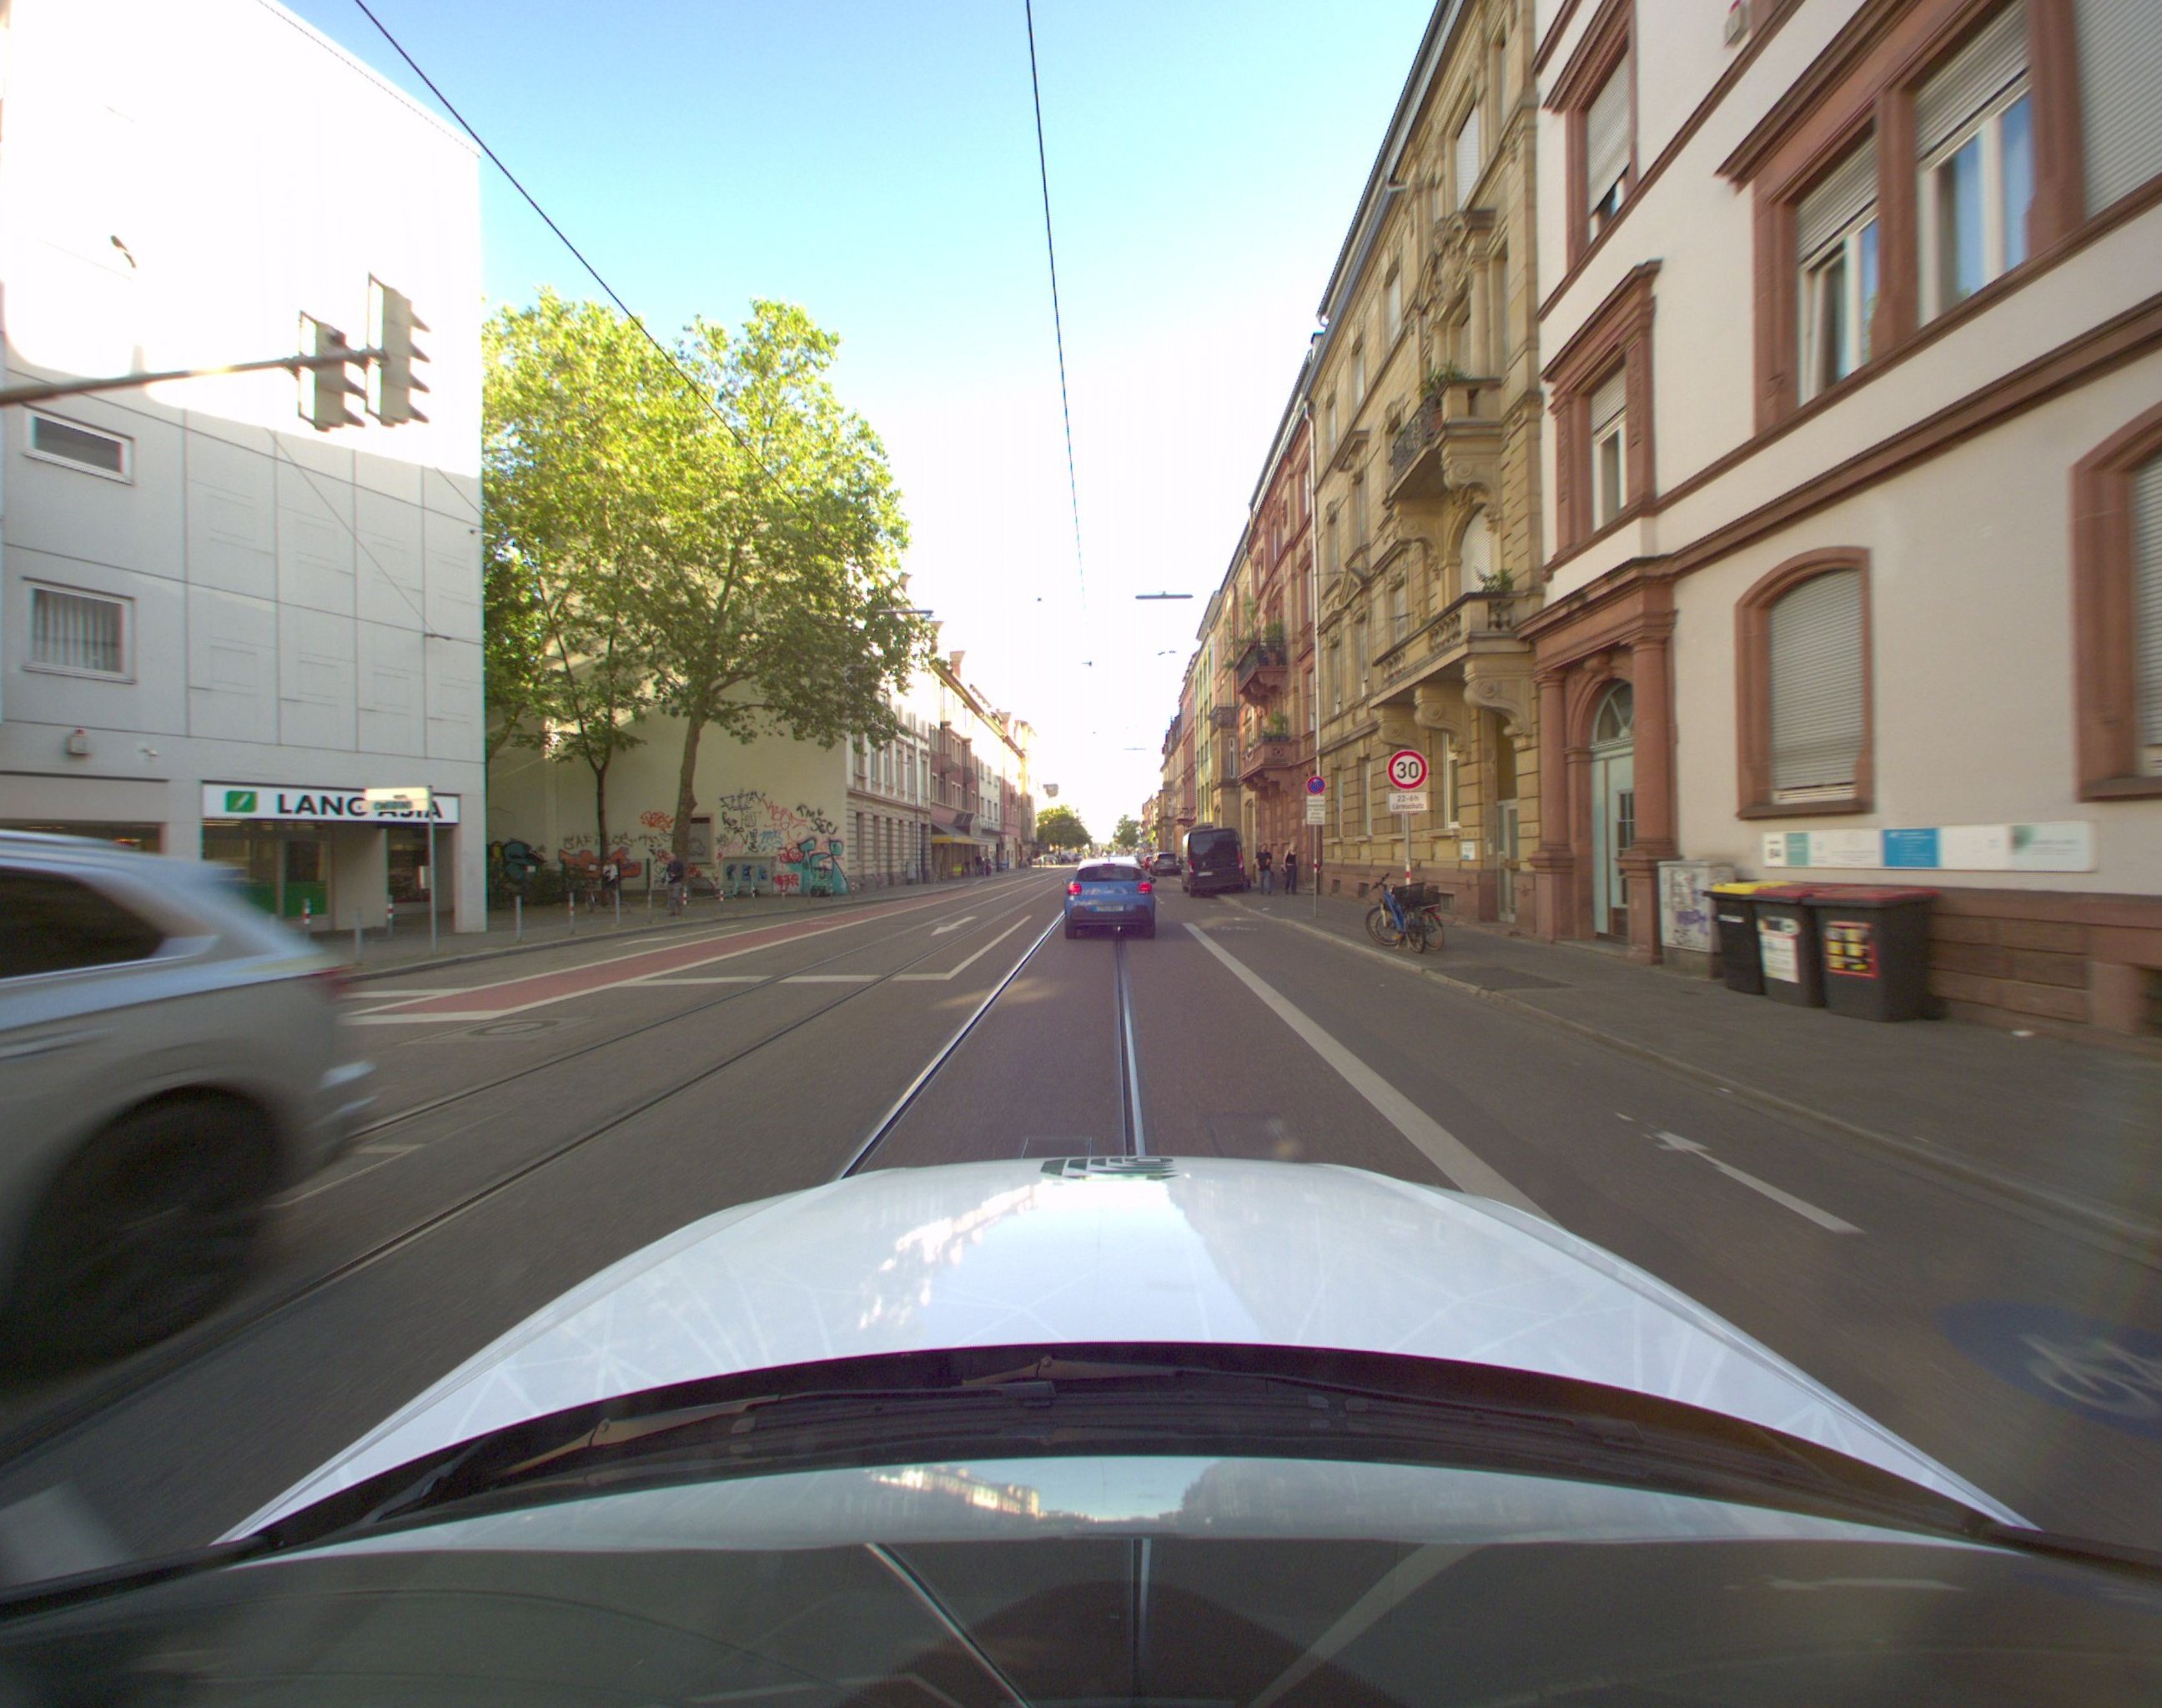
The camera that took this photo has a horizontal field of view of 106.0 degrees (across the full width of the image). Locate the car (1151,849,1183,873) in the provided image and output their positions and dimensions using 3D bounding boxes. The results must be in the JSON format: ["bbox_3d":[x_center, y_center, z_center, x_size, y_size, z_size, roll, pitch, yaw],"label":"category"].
[{"bbox_3d":[6.268,0.517,59.901,1.998,1.672,4.808,-2,0,2],"label":"car"}]

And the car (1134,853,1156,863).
[{"bbox_3d":[11.756,0.722,149.534,3.824,1.618,1.791,-2,0,-1],"label":"car"}]

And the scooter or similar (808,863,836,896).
[{"bbox_3d":[-10.469,1.028,32.933,0.785,1.271,1.075,1,1,1],"label":"scooter or similar"}]

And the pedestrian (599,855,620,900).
[{"bbox_3d":[-18.228,0.915,31.474,0.454,1.718,0.547,-2,0,1],"label":"pedestrian"}]

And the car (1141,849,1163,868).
[{"bbox_3d":[7.270,0.433,83.922,1.998,1.672,4.394,-2,3,2],"label":"car"}]

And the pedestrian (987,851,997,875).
[{"bbox_3d":[-6.710,0.704,61.444,0.709,1.764,0.653,-1,0,-7],"label":"pedestrian"}]

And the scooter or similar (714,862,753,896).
[{"bbox_3d":[-13.429,0.960,31.516,1.228,1.258,0.765,-1,0,-11],"label":"scooter or similar"}]

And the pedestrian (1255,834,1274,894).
[{"bbox_3d":[6.263,0.332,27.879,0.581,2.014,0.826,-1,-1,12],"label":"pedestrian"}]

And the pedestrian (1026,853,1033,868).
[{"bbox_3d":[-5.680,0.704,90.261,0.683,1.638,0.675,-2,0,1],"label":"pedestrian"}]

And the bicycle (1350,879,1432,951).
[{"bbox_3d":[4.638,0.879,12.303,0.430,0.947,1.760,-1,0,-5],"label":"bicycle"}]

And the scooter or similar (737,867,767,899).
[{"bbox_3d":[-13.151,1.150,32.557,0.937,1.222,0.765,-1,0,-10],"label":"scooter or similar"}]

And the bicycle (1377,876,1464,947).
[{"bbox_3d":[5.100,0.829,12.339,0.430,0.947,1.760,-1,0,-5],"label":"bicycle"}]

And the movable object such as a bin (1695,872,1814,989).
[{"bbox_3d":[6.597,0.731,8.007,0.663,1.077,0.571,-2,0,1],"label":"movable object such as a bin"}]

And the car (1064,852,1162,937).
[{"bbox_3d":[0.533,0.721,16.620,1.670,1.477,3.997,-1,0,-2],"label":"car"}]

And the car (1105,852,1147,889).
[{"bbox_3d":[1.946,0.696,35.973,1.661,1.478,4.001,-2,0,1],"label":"car"}]

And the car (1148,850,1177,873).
[{"bbox_3d":[6.424,0.596,64.560,1.899,1.757,4.001,-1,0,1],"label":"car"}]

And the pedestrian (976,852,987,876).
[{"bbox_3d":[-7.476,0.749,61.180,0.708,1.764,0.570,-2,0,0],"label":"pedestrian"}]

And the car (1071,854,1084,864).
[{"bbox_3d":[-0.585,0.877,140.619,1.986,1.651,4.001,-1,0,1],"label":"car"}]

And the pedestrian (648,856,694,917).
[{"bbox_3d":[-12.106,0.946,24.094,0.678,1.765,1.029,-1,0,12],"label":"pedestrian"}]

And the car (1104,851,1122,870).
[{"bbox_3d":[3.614,0.748,93.019,1.986,2.013,4.001,-2,0,1],"label":"car"}]

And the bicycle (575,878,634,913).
[{"bbox_3d":[-14.930,1.300,25.505,1.898,1.034,0.669,-2,0,28],"label":"bicycle"}]

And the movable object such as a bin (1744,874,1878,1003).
[{"bbox_3d":[6.573,0.743,7.356,0.663,1.077,0.571,-2,0,1],"label":"movable object such as a bin"}]

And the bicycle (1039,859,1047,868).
[{"bbox_3d":[-5.861,1.490,124.675,1.118,1.319,3.639,-1,0,-3],"label":"bicycle"}]

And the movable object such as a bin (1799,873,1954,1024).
[{"bbox_3d":[6.558,0.752,6.744,0.663,1.153,0.594,-2,0,1],"label":"movable object such as a bin"}]

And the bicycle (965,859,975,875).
[{"bbox_3d":[-8.325,0.992,60.893,0.621,1.159,2.057,-1,0,-11],"label":"bicycle"}]

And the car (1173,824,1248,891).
[{"bbox_3d":[5.064,0.133,32.688,2.263,2.437,5.722,-1,0,2],"label":"car"}]

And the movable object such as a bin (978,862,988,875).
[{"bbox_3d":[-7.463,1.097,61.884,0.608,0.914,0.695,-2,0,2],"label":"movable object such as a bin"}]

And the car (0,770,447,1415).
[{"bbox_3d":[-3.938,0.660,1.436,1.986,1.744,4.563,-1,0,1],"label":"car"}]

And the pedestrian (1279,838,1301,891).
[{"bbox_3d":[7.069,0.355,27.531,0.551,1.782,0.606,-1,0,0],"label":"pedestrian"}]

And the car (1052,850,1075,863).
[{"bbox_3d":[-3.764,0.522,173.323,4.328,2.581,2.192,-2,0,-24],"label":"car"}]

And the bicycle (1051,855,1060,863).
[{"bbox_3d":[-3.921,0.727,124.864,1.118,1.146,3.639,-1,0,-3],"label":"bicycle"}]
